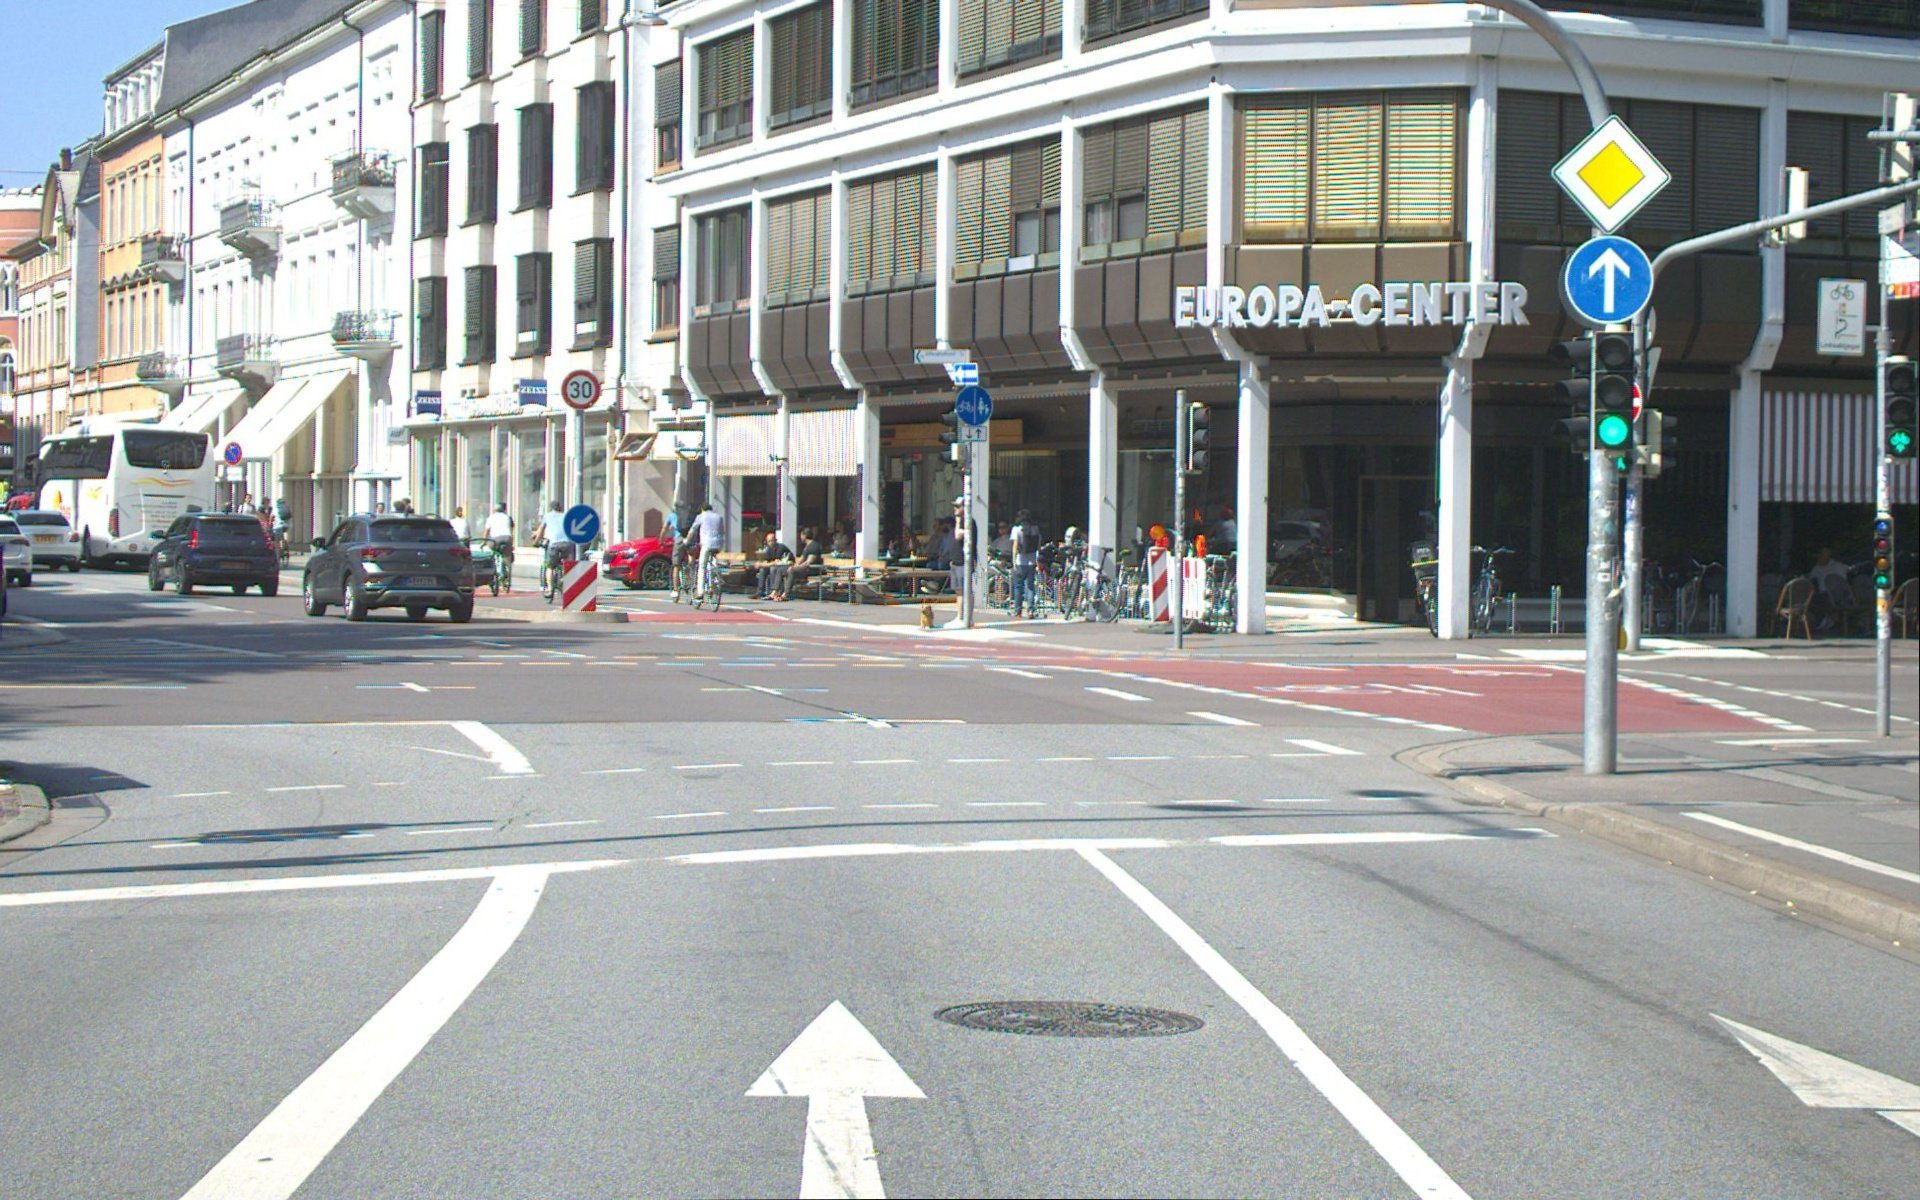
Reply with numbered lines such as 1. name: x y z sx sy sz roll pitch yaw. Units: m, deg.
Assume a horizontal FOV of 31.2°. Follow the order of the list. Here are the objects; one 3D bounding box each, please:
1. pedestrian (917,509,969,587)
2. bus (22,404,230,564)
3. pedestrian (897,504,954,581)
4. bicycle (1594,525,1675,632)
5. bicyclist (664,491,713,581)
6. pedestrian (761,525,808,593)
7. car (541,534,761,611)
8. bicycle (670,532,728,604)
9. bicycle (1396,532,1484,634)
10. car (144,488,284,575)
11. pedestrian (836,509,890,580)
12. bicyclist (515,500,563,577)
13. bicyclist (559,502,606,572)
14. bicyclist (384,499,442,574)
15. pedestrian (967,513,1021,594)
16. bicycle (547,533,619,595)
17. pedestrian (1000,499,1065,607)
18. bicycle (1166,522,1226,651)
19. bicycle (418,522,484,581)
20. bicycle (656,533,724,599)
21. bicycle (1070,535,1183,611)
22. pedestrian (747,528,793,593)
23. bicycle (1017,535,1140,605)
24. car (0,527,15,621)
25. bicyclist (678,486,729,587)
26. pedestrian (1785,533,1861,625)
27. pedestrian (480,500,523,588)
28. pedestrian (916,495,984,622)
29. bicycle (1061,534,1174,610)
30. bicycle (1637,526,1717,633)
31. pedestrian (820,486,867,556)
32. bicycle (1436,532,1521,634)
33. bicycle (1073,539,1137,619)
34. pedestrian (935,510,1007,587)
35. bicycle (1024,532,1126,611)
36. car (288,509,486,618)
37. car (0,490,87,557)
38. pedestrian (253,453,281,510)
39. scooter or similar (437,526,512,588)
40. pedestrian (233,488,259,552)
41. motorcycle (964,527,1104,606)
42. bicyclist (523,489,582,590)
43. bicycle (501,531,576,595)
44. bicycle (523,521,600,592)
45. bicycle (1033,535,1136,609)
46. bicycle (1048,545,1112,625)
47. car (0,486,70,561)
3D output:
1. pedestrian: -0.308 -0.928 61.921 0.711 1.392 0.697 0 0 -24
2. bus: -21.637 -2.995 88.568 2.881 3.729 12.430 2 1 -24
3. pedestrian: -0.637 -1.053 62.697 0.813 1.392 0.697 0 1 -25
4. bicycle: 9.420 -0.314 47.958 0.530 1.417 1.964 2 3 28
5. bicyclist: -4.662 -1.105 58.952 0.620 1.524 0.869 1 1 -18
6. pedestrian: -3.124 -0.729 61.269 0.711 1.212 0.697 0 0 -14
7. car: -6.202 -0.549 68.980 4.043 1.489 1.842 0 0 -21
8. bicycle: -4.266 -0.525 56.077 0.594 1.116 1.802 0 2 -15
9. bicycle: 6.564 -0.241 46.929 0.530 1.312 1.964 2 3 28
10. car: -13.718 -1.239 63.093 1.832 1.522 4.001 -2 1 -22
11. pedestrian: -1.872 -1.070 66.387 0.877 1.363 0.537 0 1 -24
12. bicyclist: -7.565 -1.105 61.749 0.620 1.350 0.847 1 1 -25
13. bicyclist: -7.049 -1.174 64.153 0.620 1.292 0.867 1 1 -25
14. bicyclist: -11.795 -1.364 74.081 0.982 1.593 1.056 1 1 -23
15. pedestrian: 0.588 -0.807 60.014 0.711 1.392 0.697 0 0 -24
16. bicycle: -7.042 -0.677 64.120 0.620 1.095 2.353 1 1 -25
17. pedestrian: 1.114 -0.719 52.774 0.832 1.657 0.697 0 0 -14
18. bicycle: 3.328 -0.193 48.414 0.376 1.476 1.057 -1 -38 20
19. bicycle: -9.933 -0.954 66.983 0.620 1.095 2.353 1 1 -25
20. bicycle: -4.646 -0.595 59.001 0.620 1.095 2.353 1 1 -18
21. bicycle: 2.522 -0.407 52.086 1.716 1.116 0.278 -1 2 -16
22. pedestrian: -3.432 -0.714 62.069 0.711 1.169 0.697 0 0 -14
23. bicycle: 1.888 -0.470 54.614 2.236 1.093 0.277 0 2 -36
24. car: -15.680 -0.442 52.525 1.936 1.350 4.251 0 2 -22
25. bicyclist: -4.161 -1.030 55.768 0.694 1.620 0.836 0 2 -14
26. pedestrian: 12.751 -0.324 50.798 0.828 1.330 0.970 2 2 31
27. pedestrian: -9.058 -1.115 67.950 0.620 1.714 0.836 1 1 -22
28. pedestrian: -0.150 -0.609 50.023 0.832 1.829 0.697 0 1 -14
29. bicycle: 2.407 -0.432 52.465 1.716 1.116 0.278 -1 2 -16
30. bicycle: 9.950 -0.300 47.690 0.530 1.417 1.964 2 3 28
31. pedestrian: -2.285 -1.548 67.288 0.744 1.363 0.584 0 1 -24
32. bicycle: 7.053 -0.241 46.730 0.530 1.312 1.856 2 3 28
33. bicycle: 2.144 -0.325 51.065 0.276 1.116 2.244 0 2 -15
34. pedestrian: 0.193 -0.902 60.890 0.895 1.346 1.105 0 0 -24
35. bicycle: 1.774 -0.440 53.172 1.545 1.202 0.278 1 2 -16
36. car: -8.396 -0.538 50.149 1.832 1.522 4.001 0 1 -25
37. car: -21.872 -1.784 81.064 1.833 1.522 4.001 -2 1 -23
38. pedestrian: -19.762 -3.374 98.008 0.645 1.611 0.822 0 1 -20
39. scooter or similar: -9.192 -0.821 65.073 0.961 1.131 1.586 1 1 -26
40. pedestrian: -20.105 -2.239 96.788 0.573 1.772 1.020 0 0 -20
41. motorcycle: 1.218 -0.554 56.386 2.236 1.286 0.948 0 0 5
42. bicyclist: -6.991 -1.047 58.923 0.694 1.668 0.916 3 2 -22
43. bicycle: -7.586 -0.672 61.793 0.620 1.095 2.353 1 1 -25
44. bicycle: -6.832 -0.752 58.855 0.664 1.116 2.244 2 2 -23
45. bicycle: 1.913 -0.432 52.831 1.570 1.116 0.278 -1 2 -16
46. bicycle: 1.771 -0.237 50.939 0.276 1.116 2.244 0 2 -15
47. car: -19.249 -1.573 69.521 1.862 1.436 4.001 1 2 -23
